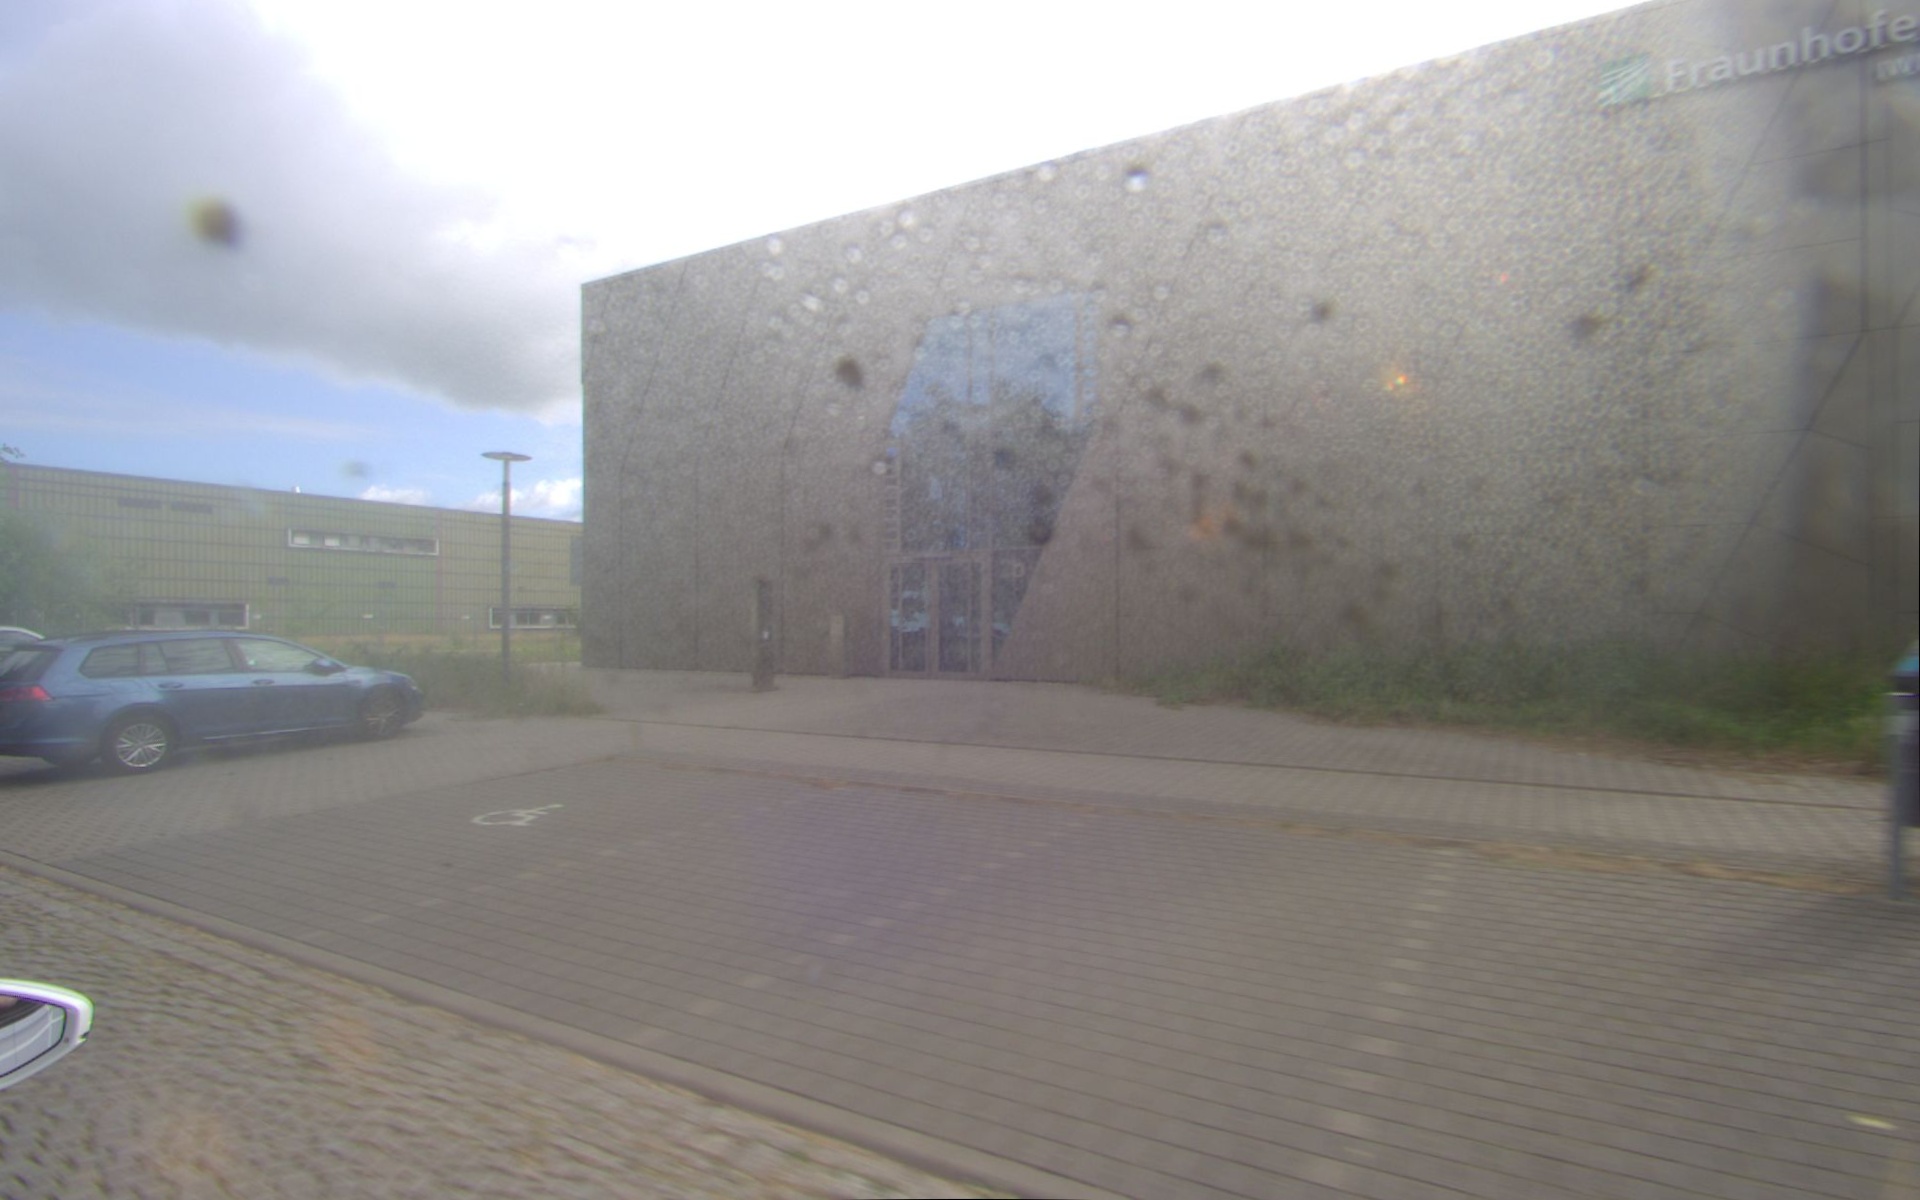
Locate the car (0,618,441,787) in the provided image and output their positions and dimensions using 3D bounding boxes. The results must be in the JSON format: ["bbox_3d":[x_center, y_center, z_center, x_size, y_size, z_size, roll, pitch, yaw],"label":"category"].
[{"bbox_3d":[-8.925,1.020,11.992,1.902,1.469,4.519,0,1,29],"label":"car"}]

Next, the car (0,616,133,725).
[{"bbox_3d":[-15.047,1.092,15.748,1.658,1.603,2.736,0,1,31],"label":"car"}]
